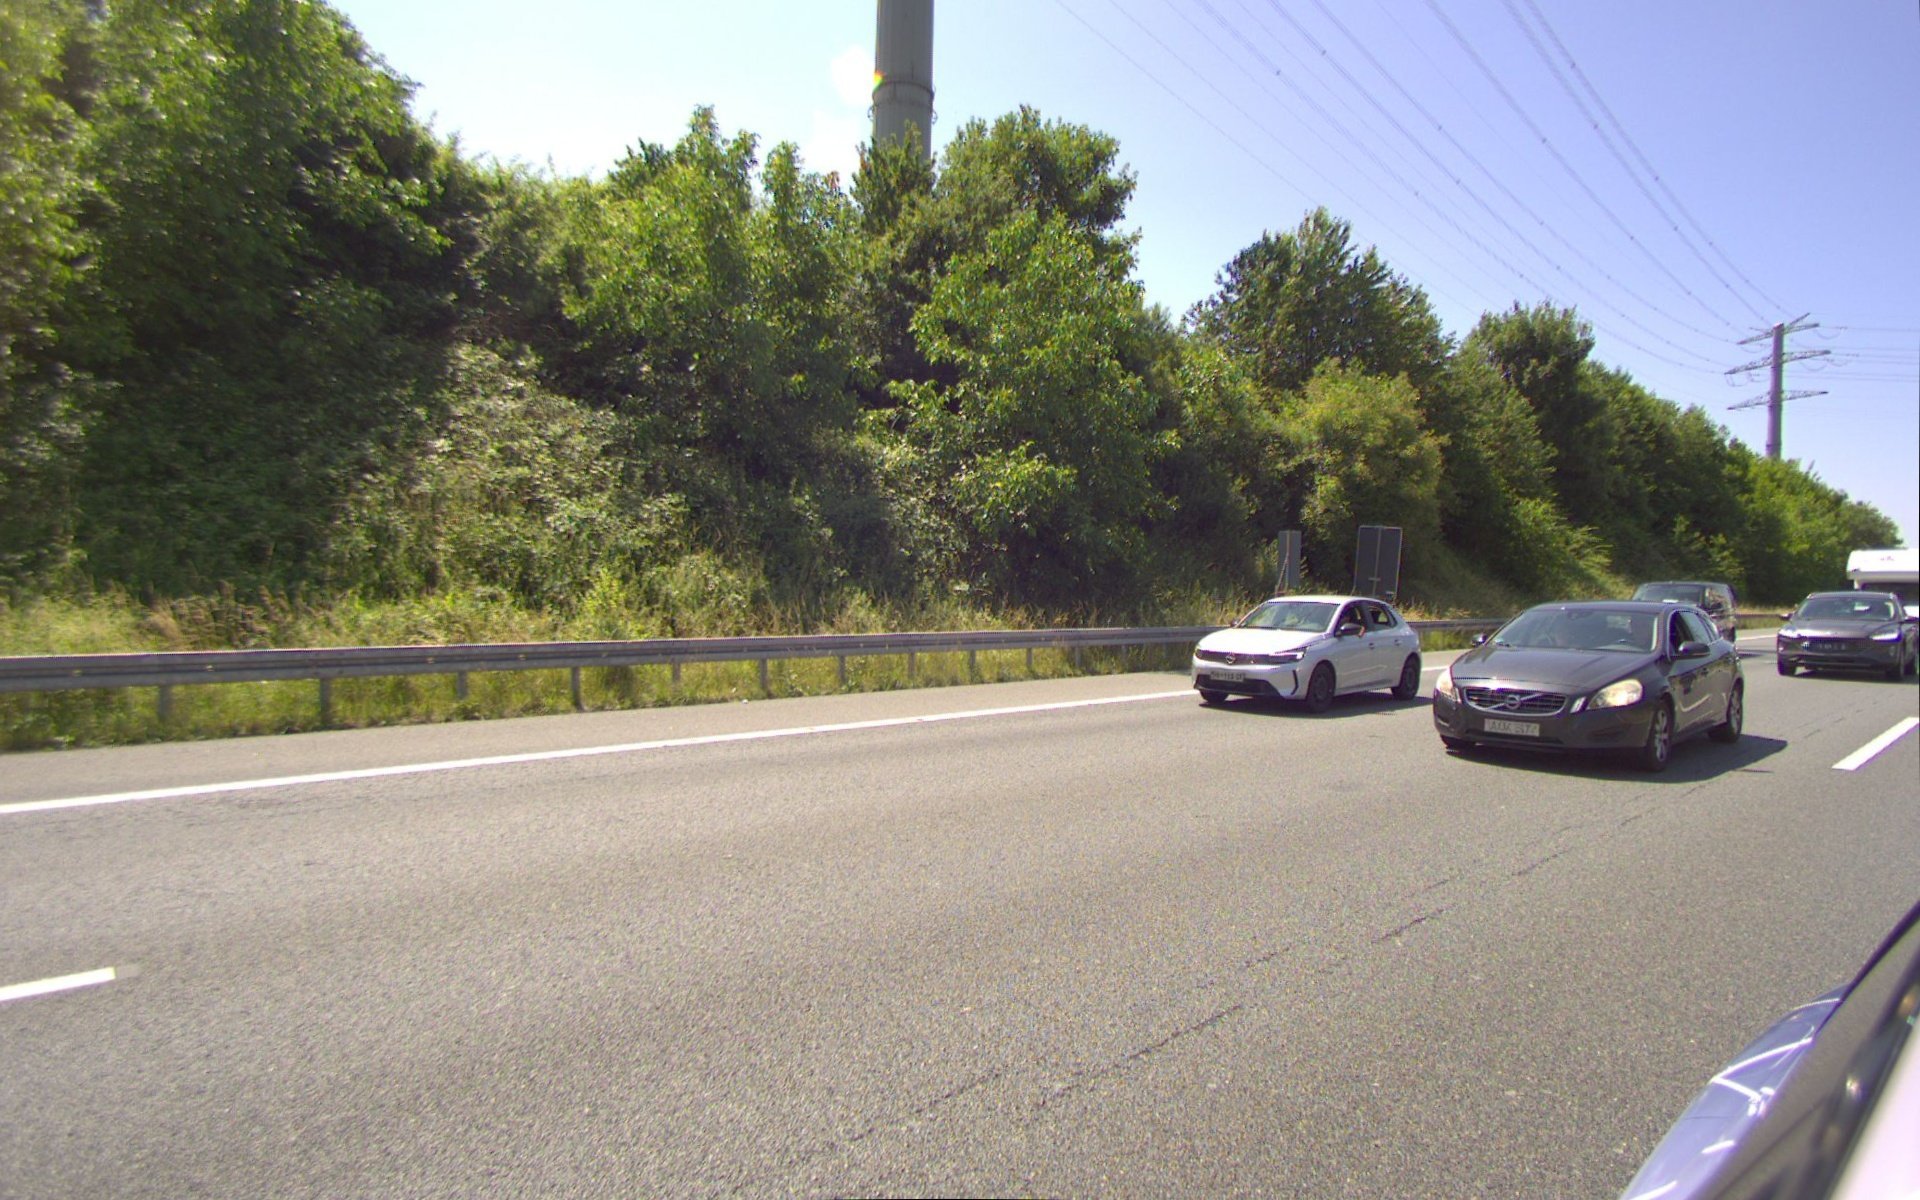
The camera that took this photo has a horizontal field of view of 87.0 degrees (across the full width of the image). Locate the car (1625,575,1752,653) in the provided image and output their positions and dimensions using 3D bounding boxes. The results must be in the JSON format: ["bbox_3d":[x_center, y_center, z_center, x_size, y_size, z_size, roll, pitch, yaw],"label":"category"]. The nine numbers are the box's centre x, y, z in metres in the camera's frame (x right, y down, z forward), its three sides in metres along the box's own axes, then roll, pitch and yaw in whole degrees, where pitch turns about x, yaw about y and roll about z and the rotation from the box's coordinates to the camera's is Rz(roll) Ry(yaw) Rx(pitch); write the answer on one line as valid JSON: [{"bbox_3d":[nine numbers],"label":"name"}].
[{"bbox_3d":[19.532,0.327,27.061,4.617,1.928,1.787,0,0,-42],"label":"car"}]

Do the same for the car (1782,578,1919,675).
[{"bbox_3d":[17.897,0.450,20.078,4.309,1.724,1.889,0,0,-43],"label":"car"}]

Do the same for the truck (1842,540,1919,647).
[{"bbox_3d":[30.657,-0.216,32.221,9.723,3.053,2.512,0,0,-41],"label":"truck"}]

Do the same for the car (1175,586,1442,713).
[{"bbox_3d":[4.841,0.569,13.805,3.944,1.488,1.744,0,0,-41],"label":"car"}]

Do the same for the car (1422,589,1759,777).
[{"bbox_3d":[6.317,0.626,9.942,4.159,1.455,1.798,0,0,-43],"label":"car"}]
